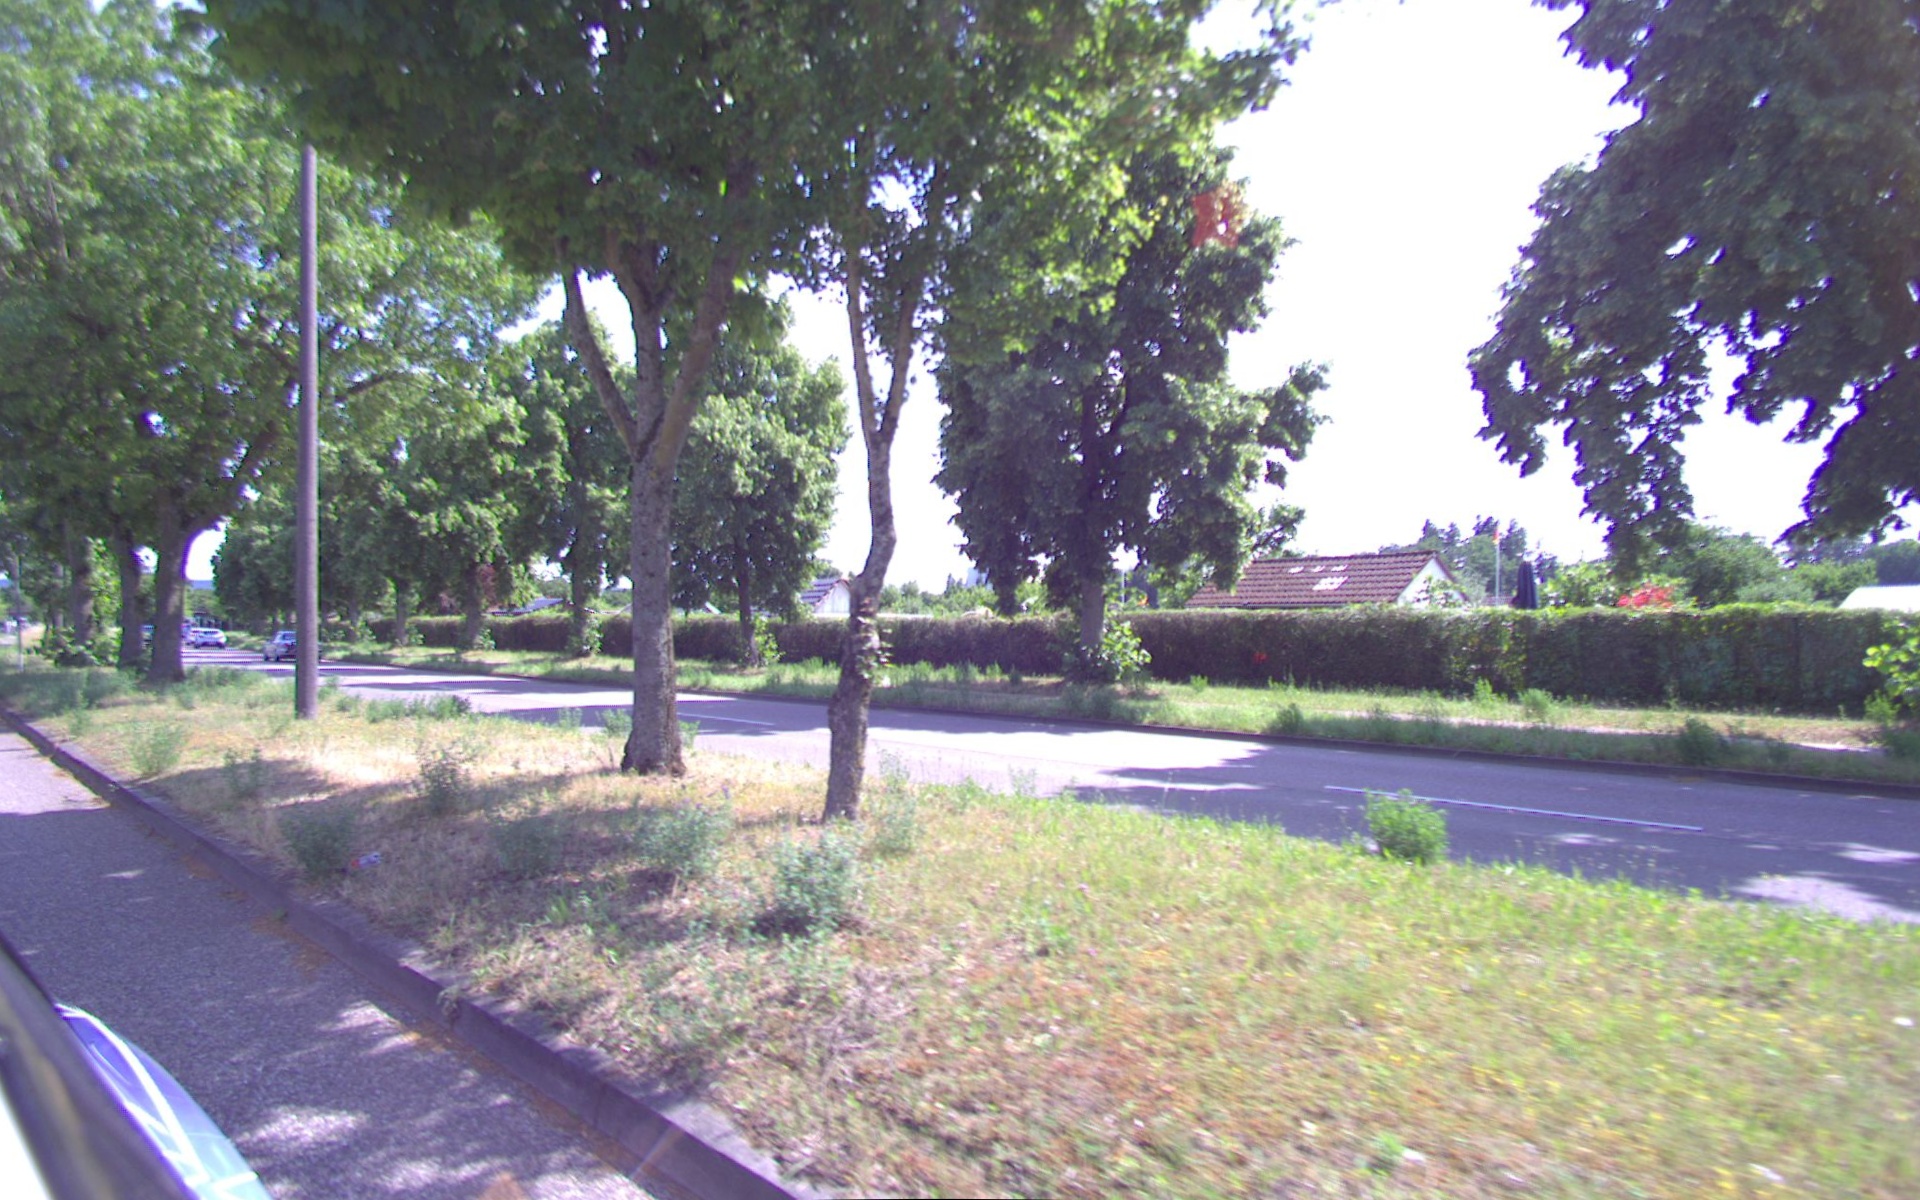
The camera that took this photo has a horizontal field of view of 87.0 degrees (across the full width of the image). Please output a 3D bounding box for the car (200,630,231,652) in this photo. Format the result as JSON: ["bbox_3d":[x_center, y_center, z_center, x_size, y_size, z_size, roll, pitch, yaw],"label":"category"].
[{"bbox_3d":[-55.080,3.034,74.847,1.714,1.598,4.120,3,-3,-38],"label":"car"}]

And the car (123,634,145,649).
[{"bbox_3d":[-88.130,4.409,108.011,1.714,1.598,4.120,3,-3,-38],"label":"car"}]

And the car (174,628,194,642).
[{"bbox_3d":[-90.655,4.061,118.187,1.714,1.598,4.120,3,-3,-38],"label":"car"}]

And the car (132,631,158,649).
[{"bbox_3d":[-73.186,3.616,90.879,1.714,1.598,4.120,3,-3,-38],"label":"car"}]

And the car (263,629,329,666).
[{"bbox_3d":[-30.020,2.146,45.697,1.716,1.598,4.115,3,-4,-44],"label":"car"}]
